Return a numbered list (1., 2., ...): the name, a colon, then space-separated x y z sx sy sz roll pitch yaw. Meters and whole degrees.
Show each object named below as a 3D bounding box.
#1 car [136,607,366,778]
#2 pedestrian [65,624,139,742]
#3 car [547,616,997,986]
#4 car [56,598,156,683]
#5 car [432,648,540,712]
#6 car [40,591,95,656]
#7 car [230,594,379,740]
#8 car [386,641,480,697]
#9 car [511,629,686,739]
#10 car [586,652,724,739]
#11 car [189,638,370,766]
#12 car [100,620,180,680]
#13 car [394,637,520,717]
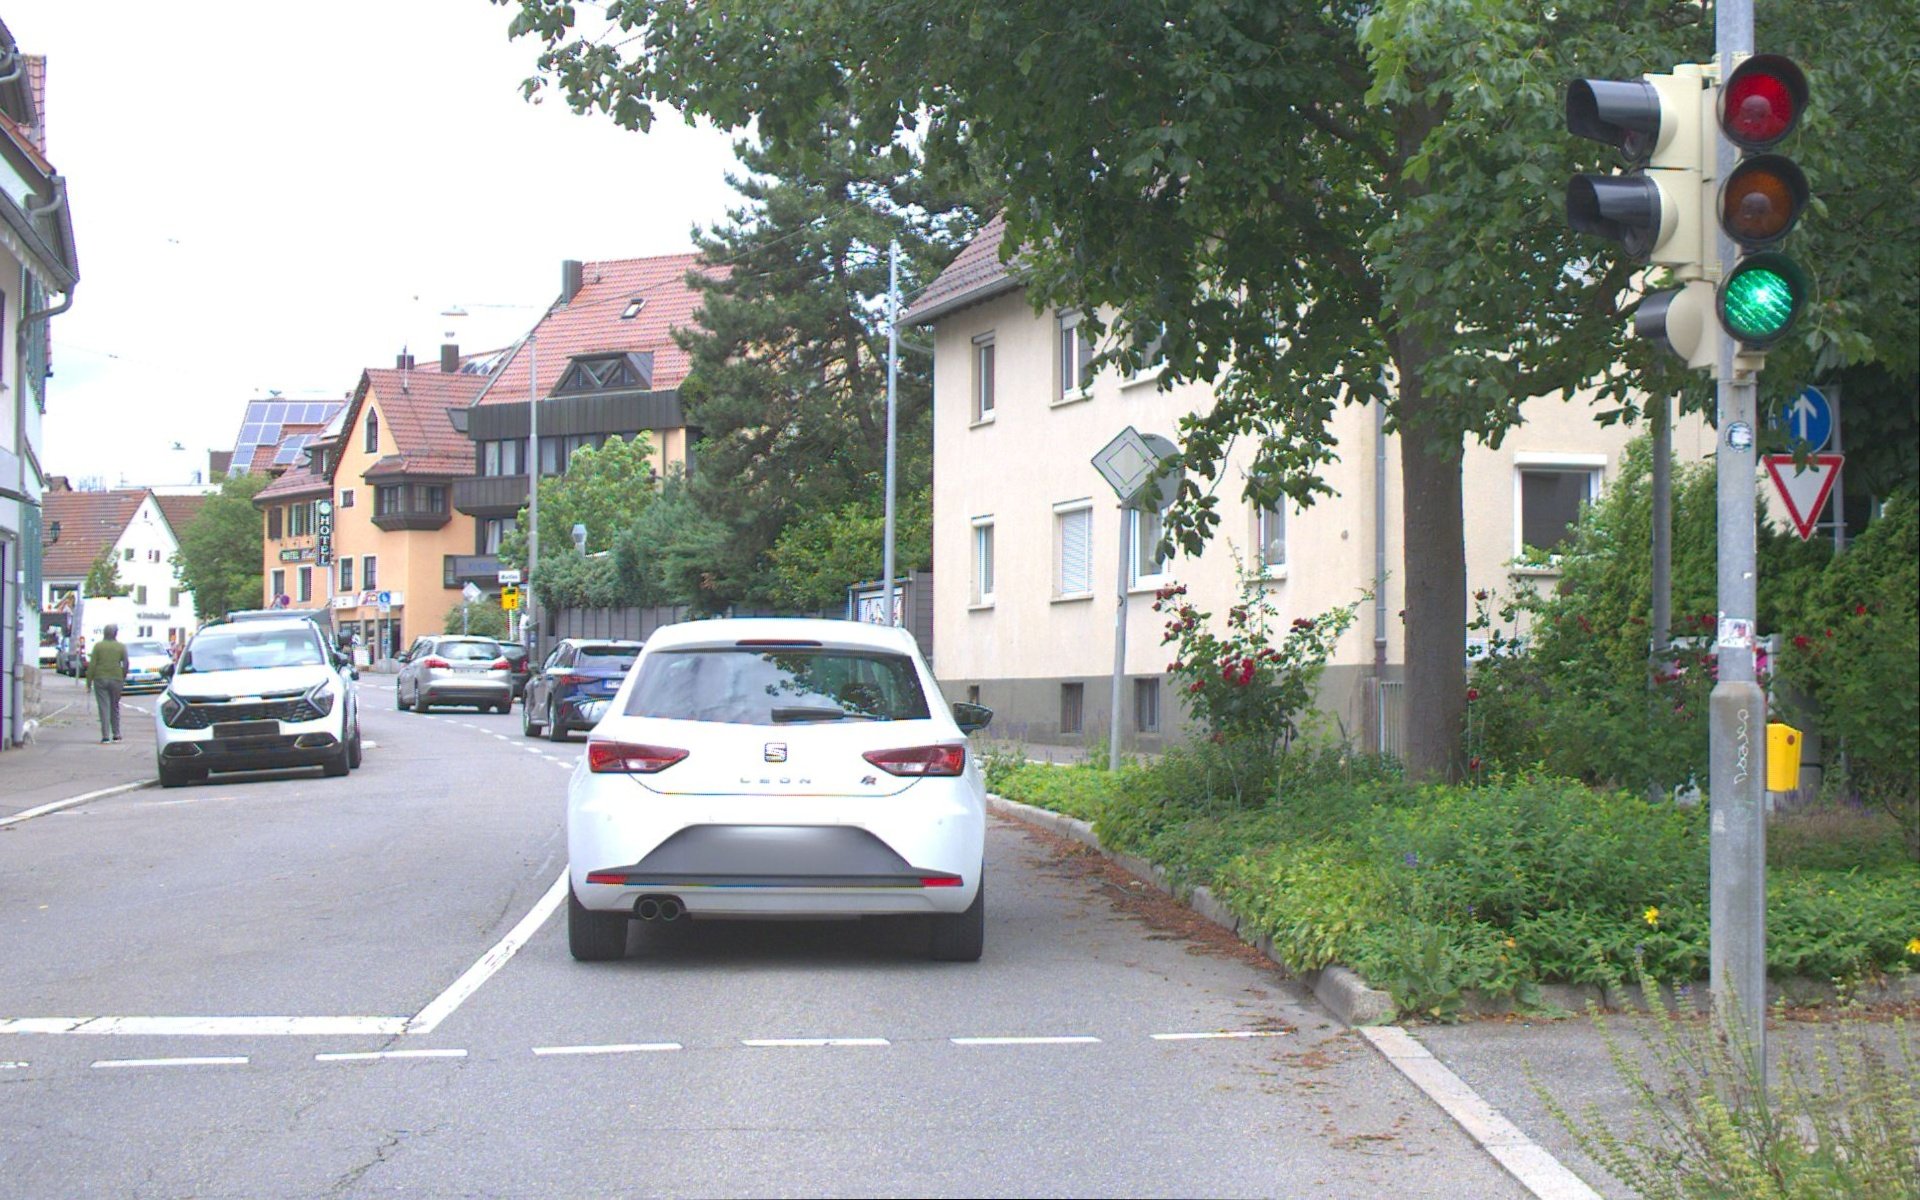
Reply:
1. car: -7.321 0.938 35.928 1.997 1.628 4.858 1 -1 -8
2. pedestrian: -11.161 1.083 44.739 0.806 1.495 0.976 2 -2 -10
3. car: -0.873 0.837 15.576 1.758 1.447 4.000 1 -1 -4
4. car: -28.375 1.359 114.410 2.152 2.678 5.545 2 -1 -3
5. car: -11.163 1.874 80.824 1.758 1.447 4.001 1 -1 -19
6. car: -38.788 1.034 149.322 2.151 2.678 5.396 2 -1 -15
7. car: -9.715 0.972 51.219 1.993 2.007 4.671 -2 0 -9
8. car: -14.031 1.832 91.407 1.758 1.447 4.001 1 -1 -19
9. car: -5.060 1.161 47.762 1.758 1.447 4.001 1 -1 -16
10. car: -5.517 1.705 61.777 1.758 1.447 4.001 3 -2 -15
11. car: -8.105 1.191 41.165 1.997 1.431 3.919 1 -1 -10
12. car: -21.640 1.314 90.693 1.798 1.474 4.052 -2 0 -16
13. car: -9.489 1.434 64.640 1.758 1.447 4.001 1 -1 -17
